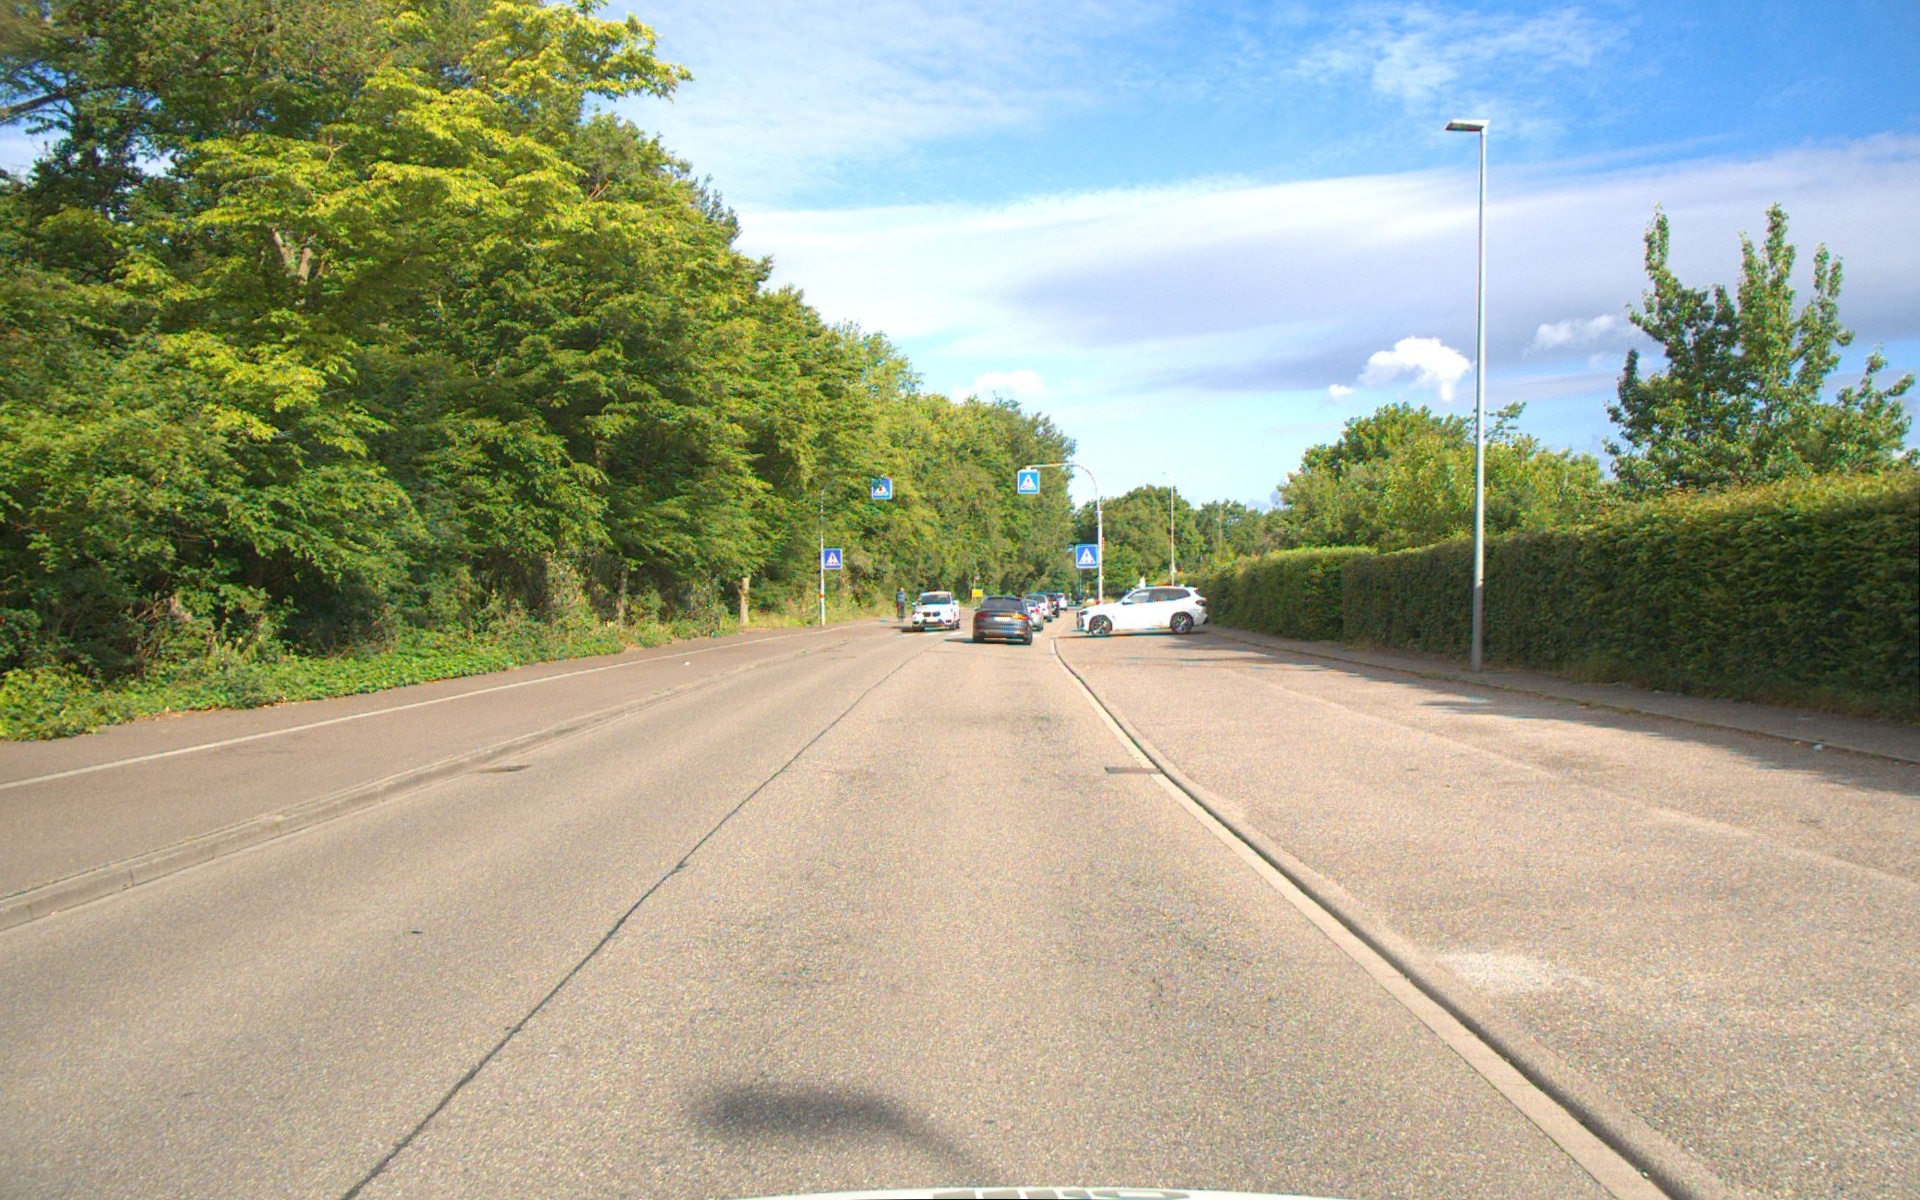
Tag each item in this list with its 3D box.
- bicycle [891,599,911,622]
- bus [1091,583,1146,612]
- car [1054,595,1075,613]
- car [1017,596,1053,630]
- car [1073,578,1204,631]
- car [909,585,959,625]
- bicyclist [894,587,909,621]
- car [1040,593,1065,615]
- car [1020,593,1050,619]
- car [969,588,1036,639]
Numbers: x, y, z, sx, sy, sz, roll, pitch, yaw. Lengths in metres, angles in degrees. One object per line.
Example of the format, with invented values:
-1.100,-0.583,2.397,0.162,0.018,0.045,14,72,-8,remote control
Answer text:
-2.941,0.504,82.299,0.648,1.116,2.350,2,0,6,bicycle
15.655,-0.245,163.587,5.253,2.795,2.069,-1,0,2,bus
8.432,0.295,133.512,1.463,1.390,3.265,0,0,9,car
3.176,0.540,69.987,1.464,1.390,3.263,0,0,3,car
6.237,0.155,57.954,4.491,1.729,1.764,-1,0,5,car
-1.058,0.211,69.694,1.764,1.613,4.104,-1,-1,4,car
-2.906,0.201,82.304,0.596,1.706,0.884,2,0,5,bicyclist
6.019,0.225,107.326,1.463,1.390,3.264,0,0,5,car
4.008,0.309,87.911,1.463,1.327,3.264,0,0,5,car
1.266,0.395,50.807,1.926,1.459,4.336,1,0,0,car
